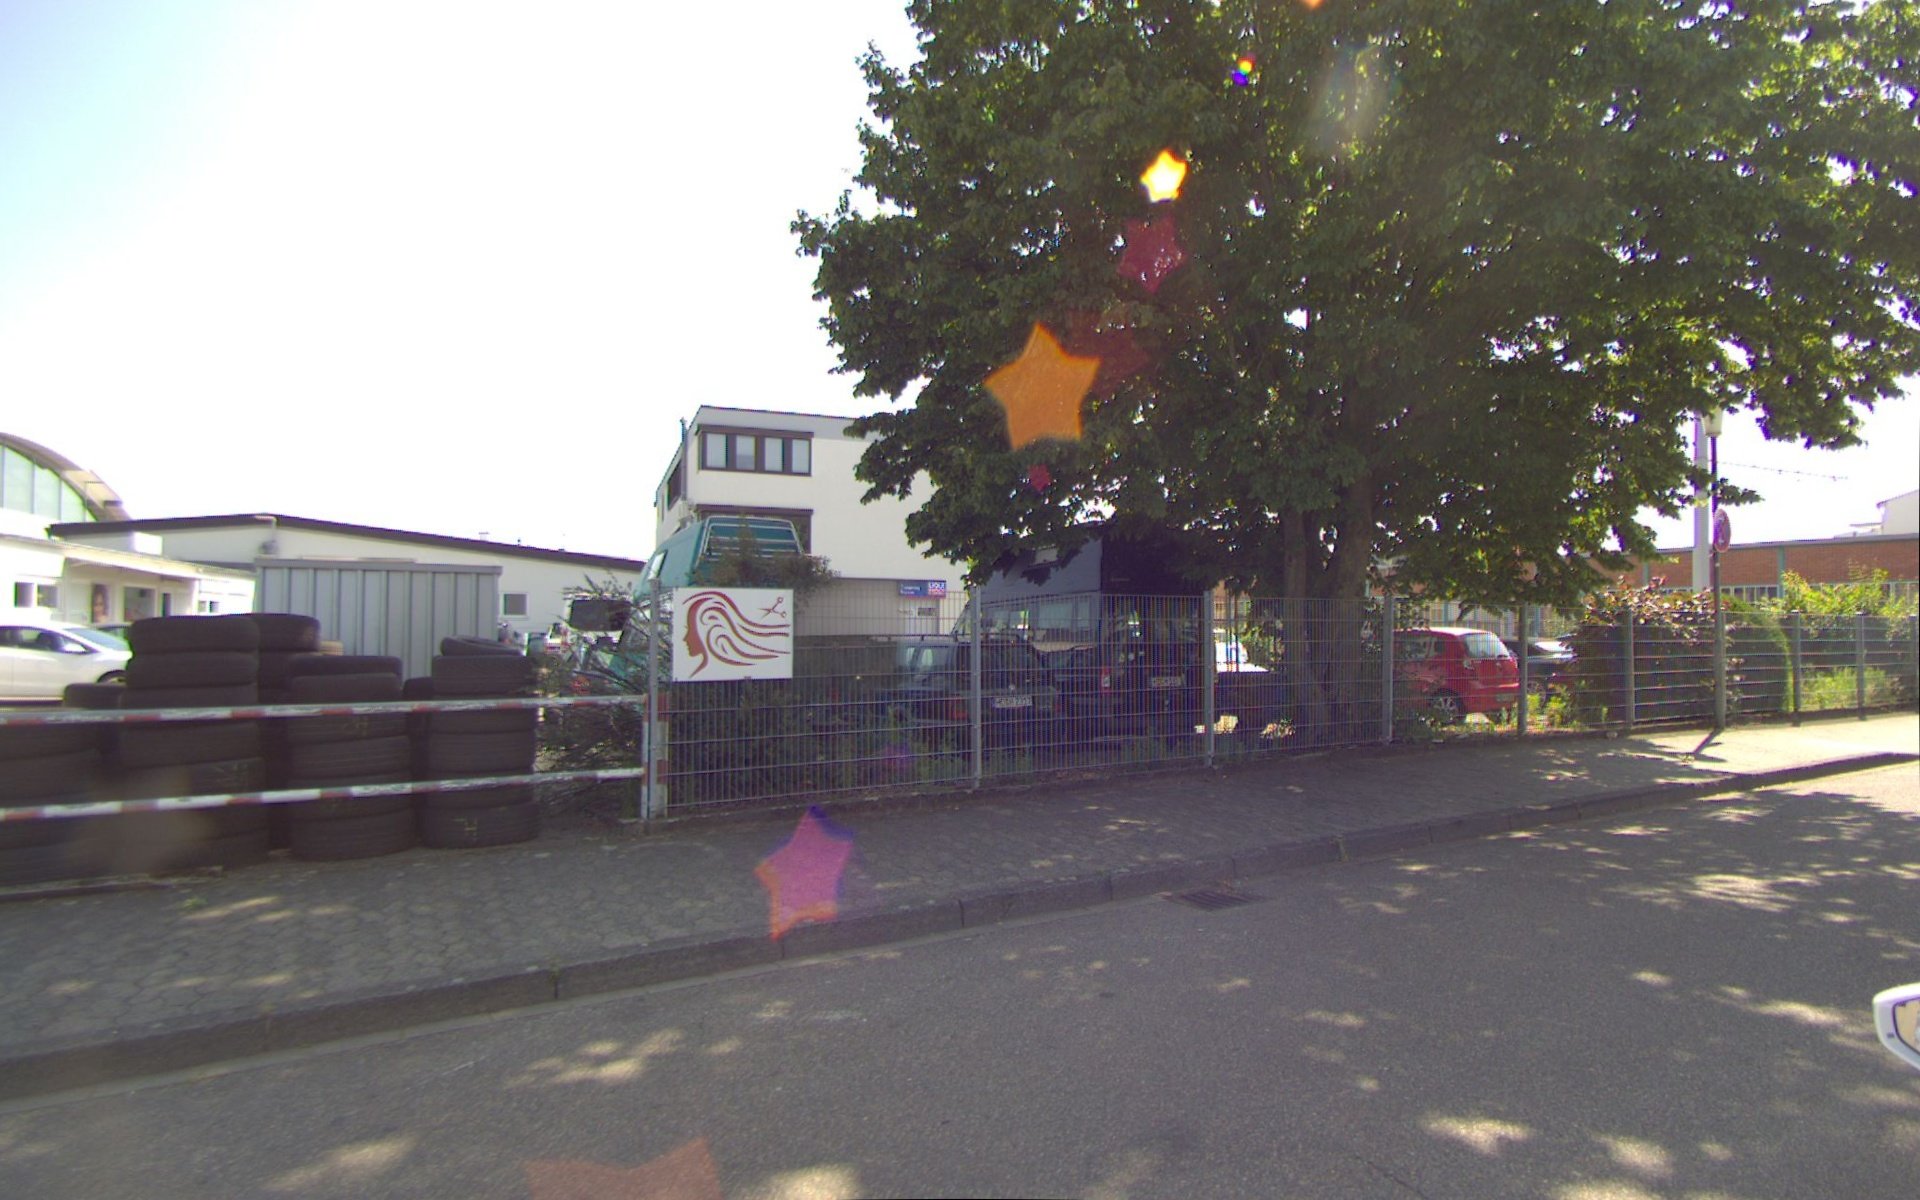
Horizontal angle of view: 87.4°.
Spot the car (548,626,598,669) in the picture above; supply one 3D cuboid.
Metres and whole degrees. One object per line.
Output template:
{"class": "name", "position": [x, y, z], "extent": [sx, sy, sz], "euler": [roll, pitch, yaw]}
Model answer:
{"class": "car", "position": [-14.676, 1.763, 38.190], "extent": [1.684, 1.441, 3.564], "euler": [2, 0, -20]}

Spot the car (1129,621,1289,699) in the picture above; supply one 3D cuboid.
{"class": "car", "position": [5.168, 1.210, 21.124], "extent": [1.633, 1.492, 3.057], "euler": [2, -1, -28]}

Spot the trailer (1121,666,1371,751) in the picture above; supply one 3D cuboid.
{"class": "trailer", "position": [3.917, 1.463, 14.218], "extent": [1.592, 0.952, 3.269], "euler": [1, -2, -28]}

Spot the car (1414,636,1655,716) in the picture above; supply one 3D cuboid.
{"class": "car", "position": [11.095, 1.413, 19.661], "extent": [1.745, 1.384, 3.751], "euler": [1, -2, -28]}

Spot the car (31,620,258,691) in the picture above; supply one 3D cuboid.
{"class": "car", "position": [-18.050, 1.222, 22.426], "extent": [3.528, 1.441, 1.701], "euler": [2, 0, -21]}

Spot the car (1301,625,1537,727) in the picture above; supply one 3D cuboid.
{"class": "car", "position": [7.527, 1.202, 16.754], "extent": [1.499, 1.504, 3.365], "euler": [1, -2, -28]}

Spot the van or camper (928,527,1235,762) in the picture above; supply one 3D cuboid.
{"class": "van or camper", "position": [1.418, 0.601, 13.684], "extent": [1.823, 2.610, 4.637], "euler": [2, -3, -28]}

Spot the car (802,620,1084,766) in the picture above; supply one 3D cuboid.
{"class": "car", "position": [-0.389, 0.979, 11.826], "extent": [1.836, 1.405, 3.902], "euler": [1, -2, -27]}

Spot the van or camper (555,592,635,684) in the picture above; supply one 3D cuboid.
{"class": "van or camper", "position": [-10.253, 1.068, 28.040], "extent": [1.757, 2.336, 4.576], "euler": [2, -2, -24]}

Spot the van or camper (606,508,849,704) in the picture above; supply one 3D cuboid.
{"class": "van or camper", "position": [-2.931, 0.059, 11.932], "extent": [1.752, 1.888, 4.165], "euler": [2, 0, -28]}

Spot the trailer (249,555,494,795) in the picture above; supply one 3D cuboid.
{"class": "trailer", "position": [-6.739, 0.686, 11.687], "extent": [1.976, 2.184, 4.747], "euler": [2, 0, -30]}

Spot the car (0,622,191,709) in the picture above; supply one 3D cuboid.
{"class": "car", "position": [-16.423, 1.168, 18.232], "extent": [3.528, 1.441, 1.701], "euler": [2, 0, -21]}

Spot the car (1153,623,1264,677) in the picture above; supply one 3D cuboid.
{"class": "car", "position": [9.144, 1.839, 37.204], "extent": [1.973, 1.873, 3.977], "euler": [2, -2, -24]}
